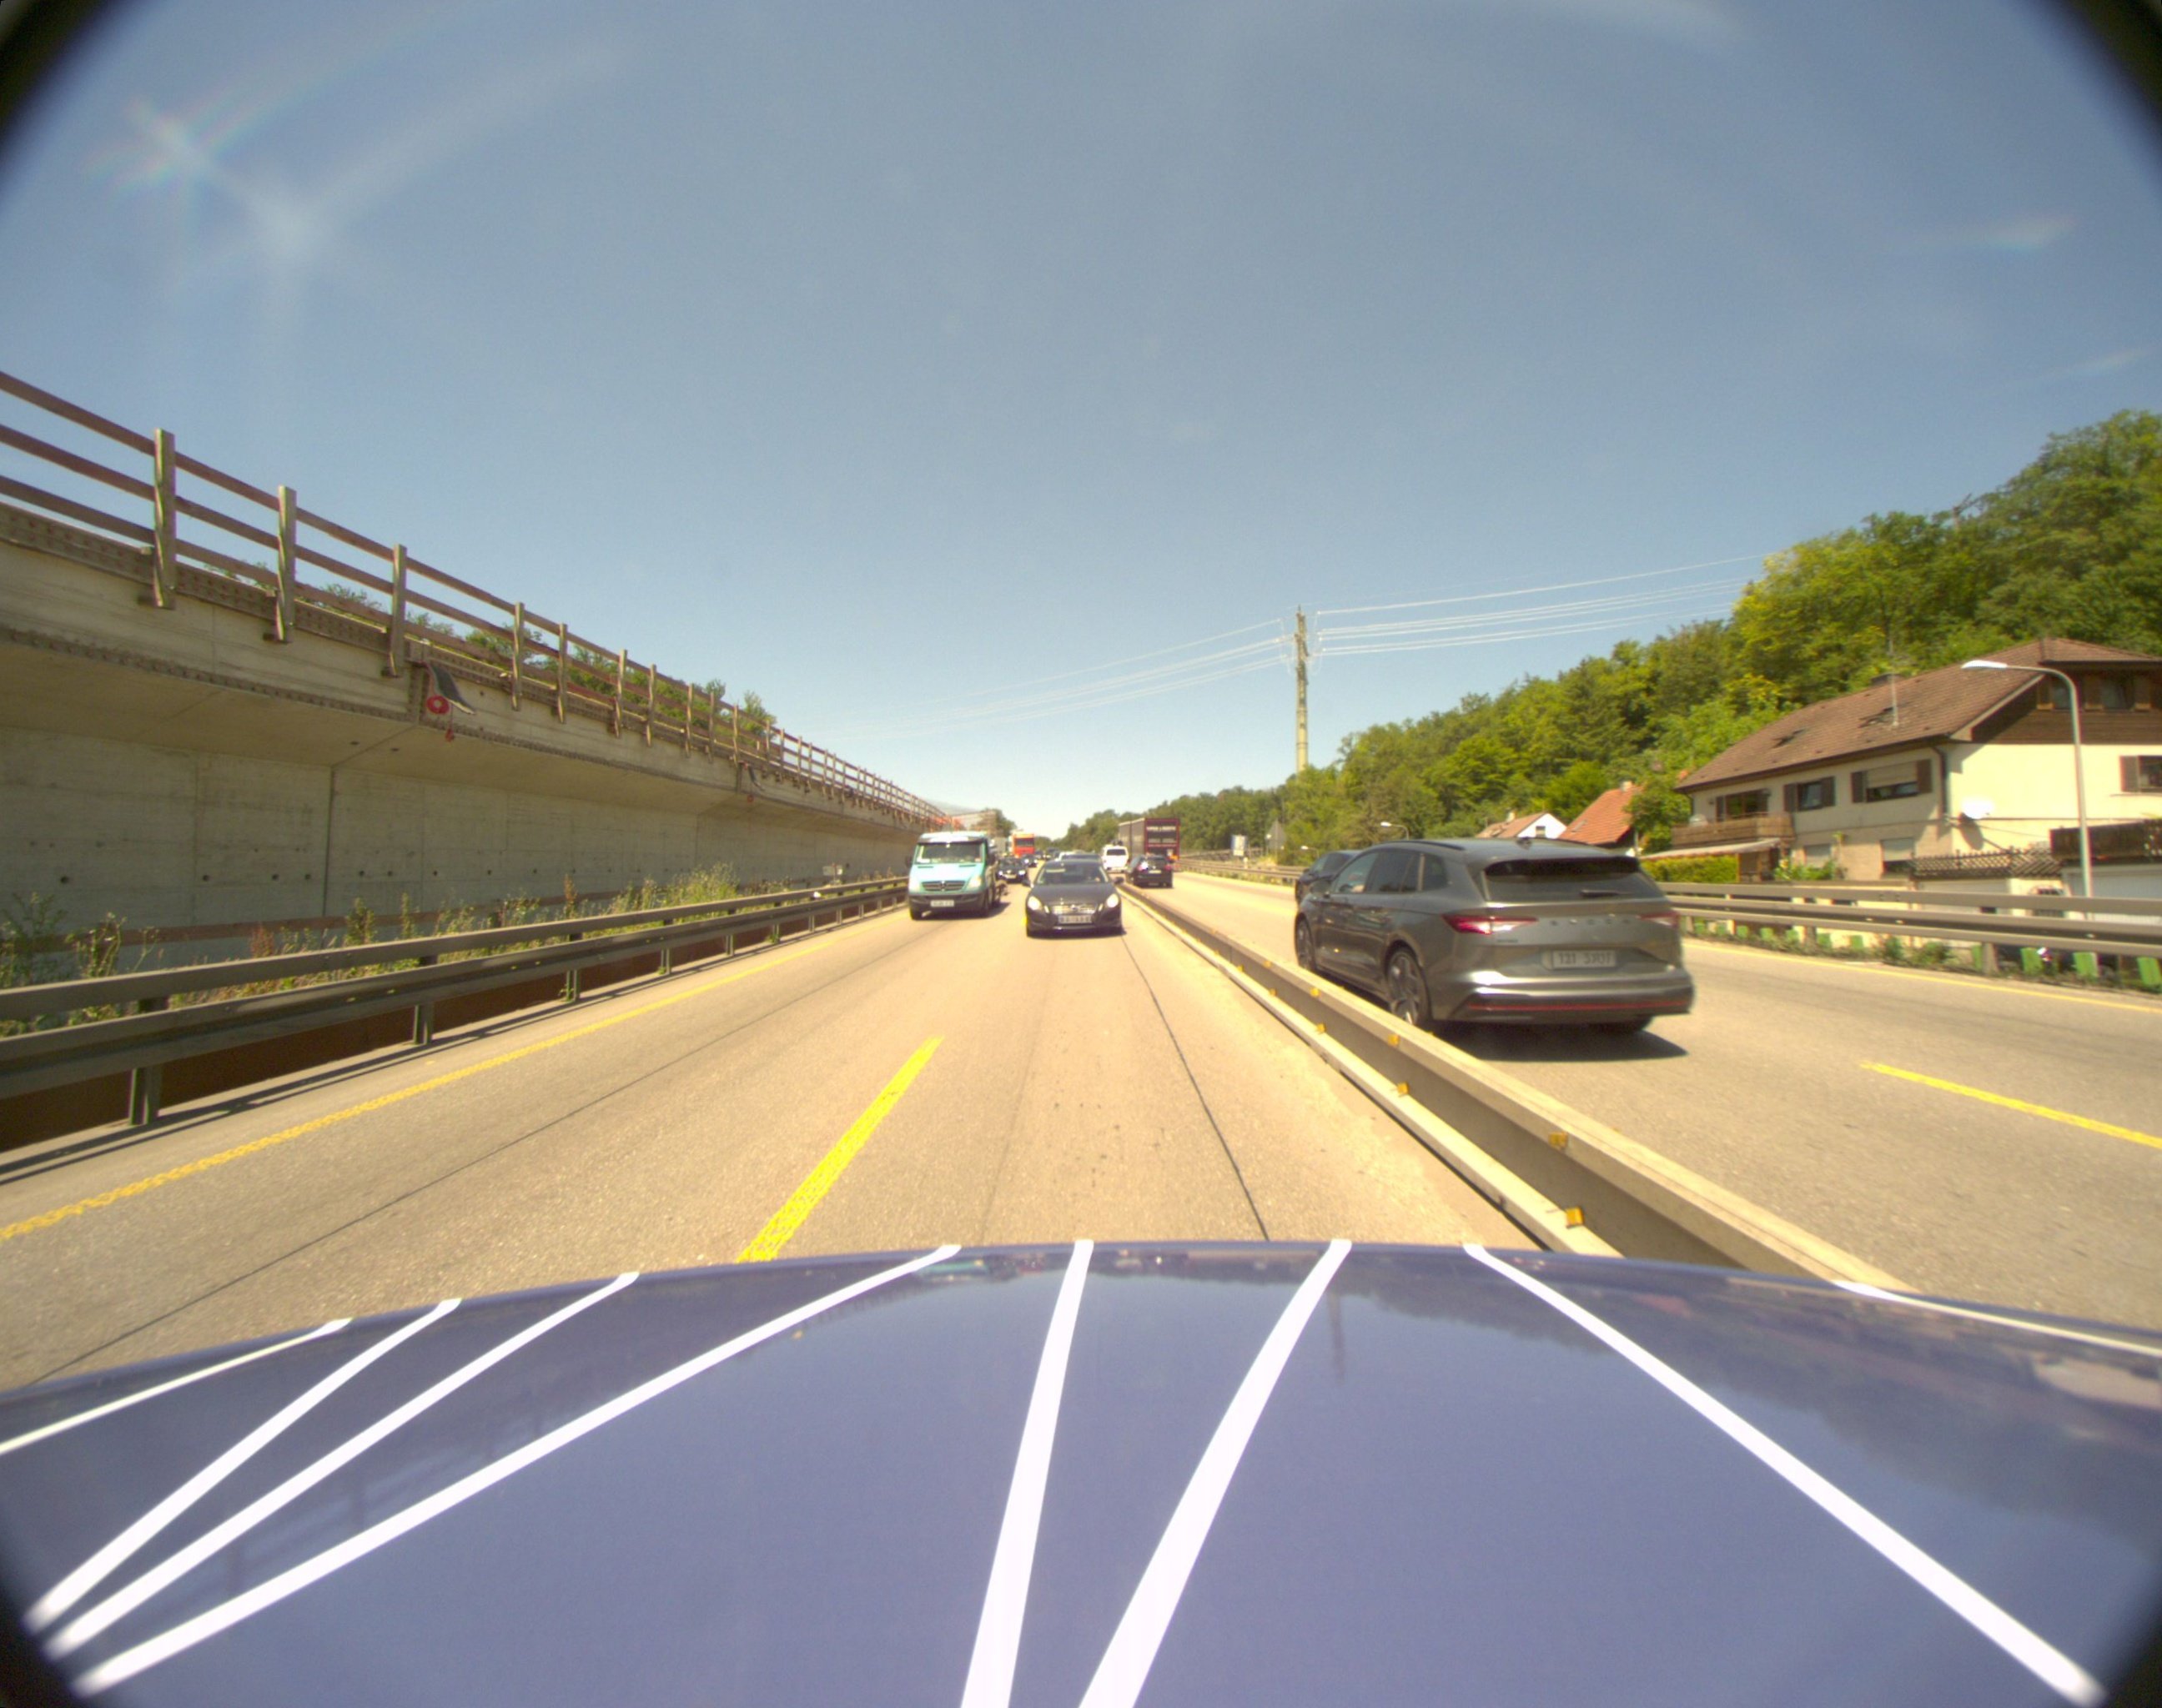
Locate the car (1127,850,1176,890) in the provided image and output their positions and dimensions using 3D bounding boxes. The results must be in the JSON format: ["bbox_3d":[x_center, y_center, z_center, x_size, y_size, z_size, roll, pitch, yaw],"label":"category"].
[{"bbox_3d":[3.152,0.683,34.650,1.859,1.608,3.999,-2,1,1],"label":"car"}]

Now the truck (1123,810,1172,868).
[{"bbox_3d":[5.801,-1.309,68.056,3.182,4.734,9.121,-2,1,-1],"label":"truck"}]

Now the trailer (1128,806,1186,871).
[{"bbox_3d":[5.914,-1.193,61.407,3.129,4.687,12.076,-2,1,-1],"label":"trailer"}]

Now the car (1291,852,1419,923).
[{"bbox_3d":[6.564,0.733,18.644,1.630,1.506,3.855,-1,0,-2],"label":"car"}]

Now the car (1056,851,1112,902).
[{"bbox_3d":[0.131,0.768,28.131,1.859,1.650,3.999,-2,1,1],"label":"car"}]

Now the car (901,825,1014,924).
[{"bbox_3d":[-3.341,0.498,22.217,1.968,2.367,7.210,-2,0,1],"label":"car"}]

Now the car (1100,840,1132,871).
[{"bbox_3d":[2.556,0.074,56.937,1.860,2.138,5.565,-2,1,-3],"label":"car"}]

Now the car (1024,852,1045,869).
[{"bbox_3d":[-4.680,0.633,76.566,1.674,1.499,3.648,-2,1,2],"label":"car"}]

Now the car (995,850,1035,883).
[{"bbox_3d":[-3.602,0.671,42.165,1.859,1.650,3.999,-2,1,0],"label":"car"}]

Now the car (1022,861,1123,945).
[{"bbox_3d":[-0.157,0.906,15.782,1.793,1.440,4.297,0,0,0],"label":"car"}]

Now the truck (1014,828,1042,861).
[{"bbox_3d":[-6.765,-1.233,98.367,2.650,3.978,11.195,-2,1,0],"label":"truck"}]

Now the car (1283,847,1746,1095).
[{"bbox_3d":[3.393,0.752,7.092,1.802,1.577,4.321,-1,0,-1],"label":"car"}]
